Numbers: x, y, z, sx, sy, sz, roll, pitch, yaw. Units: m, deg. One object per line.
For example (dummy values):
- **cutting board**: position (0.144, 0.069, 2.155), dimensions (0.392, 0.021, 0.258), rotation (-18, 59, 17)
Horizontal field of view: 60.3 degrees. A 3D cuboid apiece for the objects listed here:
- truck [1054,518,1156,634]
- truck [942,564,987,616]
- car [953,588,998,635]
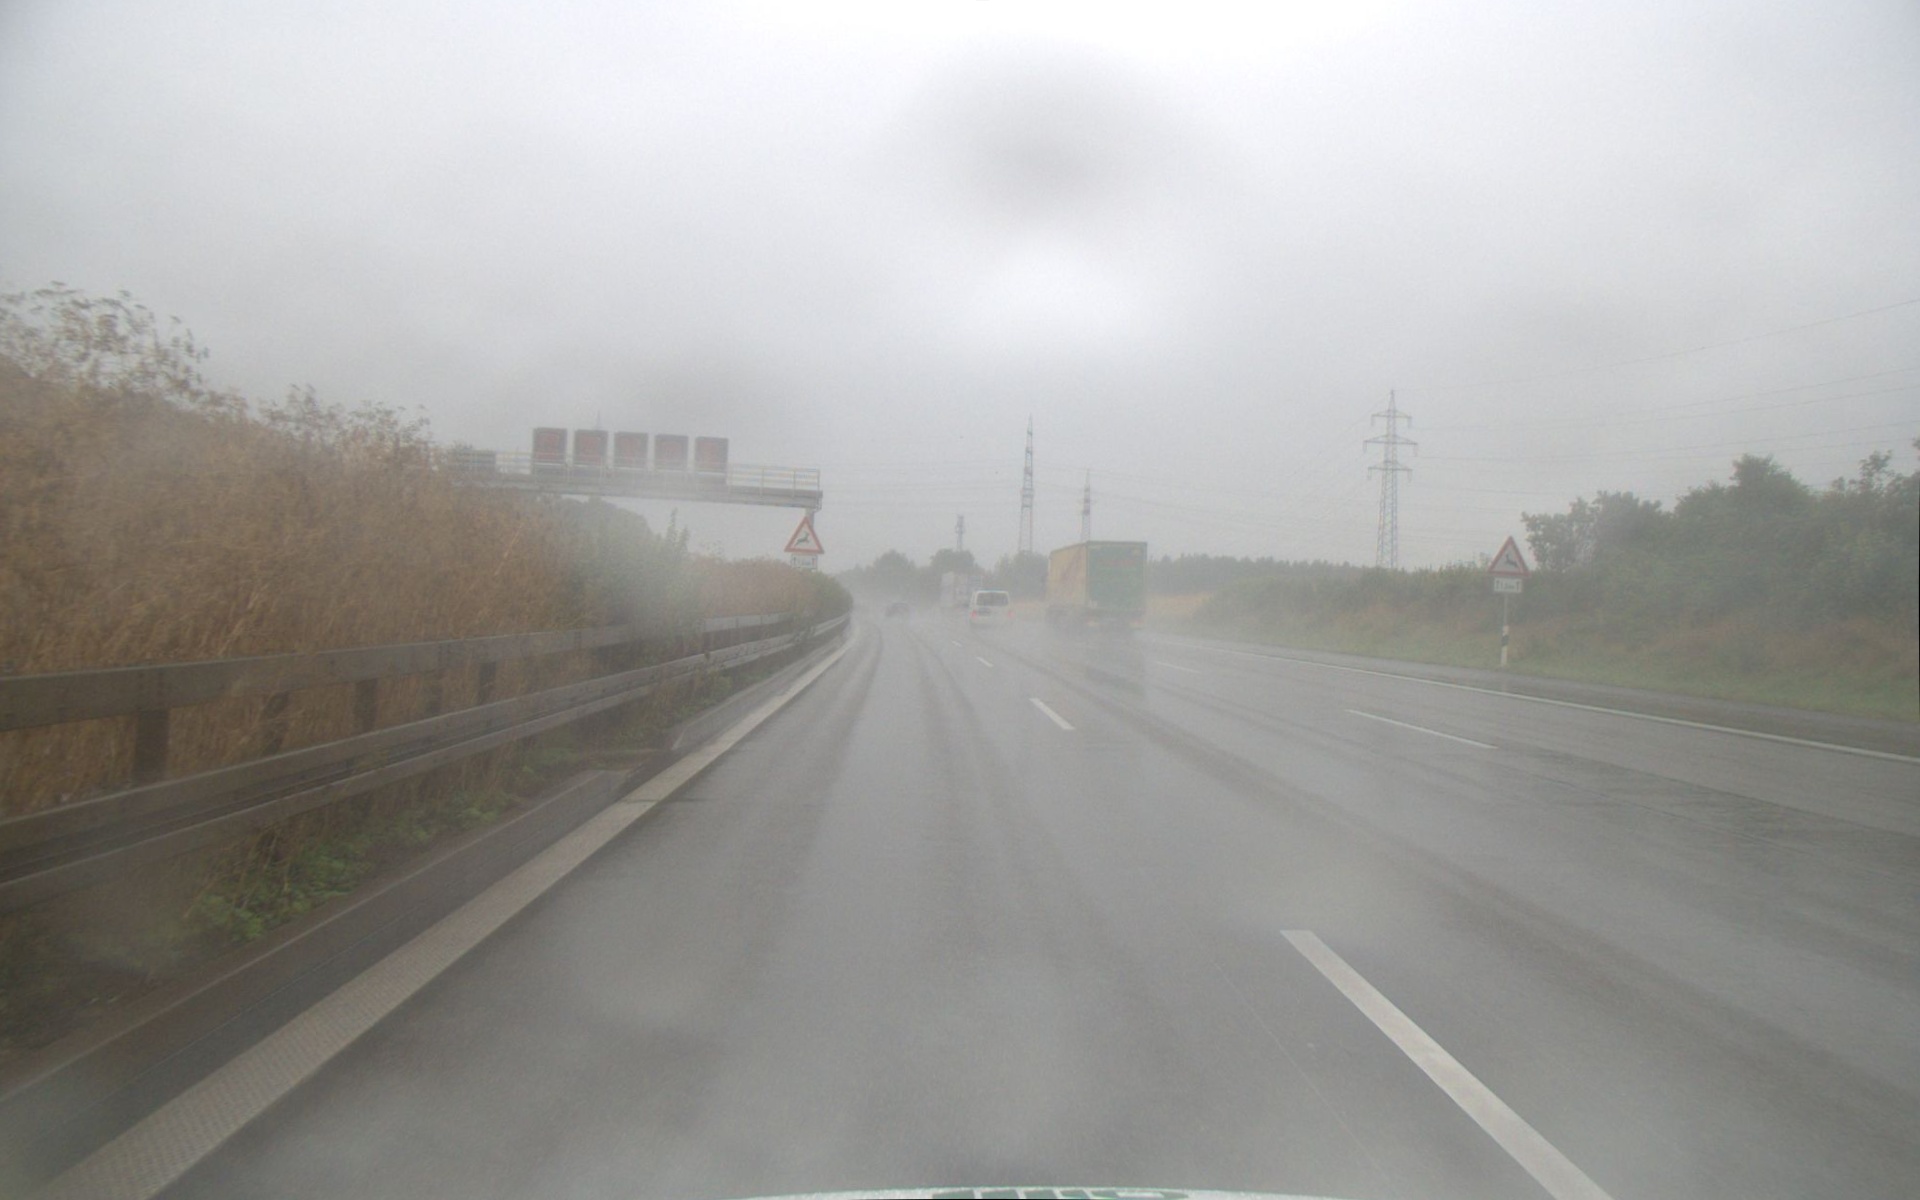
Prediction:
- **truck**: position (6.366, -0.956, 75.256), dimensions (4.101, 4.711, 16.112), rotation (0, 0, 3)
- **truck**: position (0.327, -0.896, 144.100), dimensions (3.169, 4.387, 8.828), rotation (0, 0, -5)
- **car**: position (0.699, 0.491, 74.910), dimensions (1.952, 2.049, 4.000), rotation (0, 0, 1)
